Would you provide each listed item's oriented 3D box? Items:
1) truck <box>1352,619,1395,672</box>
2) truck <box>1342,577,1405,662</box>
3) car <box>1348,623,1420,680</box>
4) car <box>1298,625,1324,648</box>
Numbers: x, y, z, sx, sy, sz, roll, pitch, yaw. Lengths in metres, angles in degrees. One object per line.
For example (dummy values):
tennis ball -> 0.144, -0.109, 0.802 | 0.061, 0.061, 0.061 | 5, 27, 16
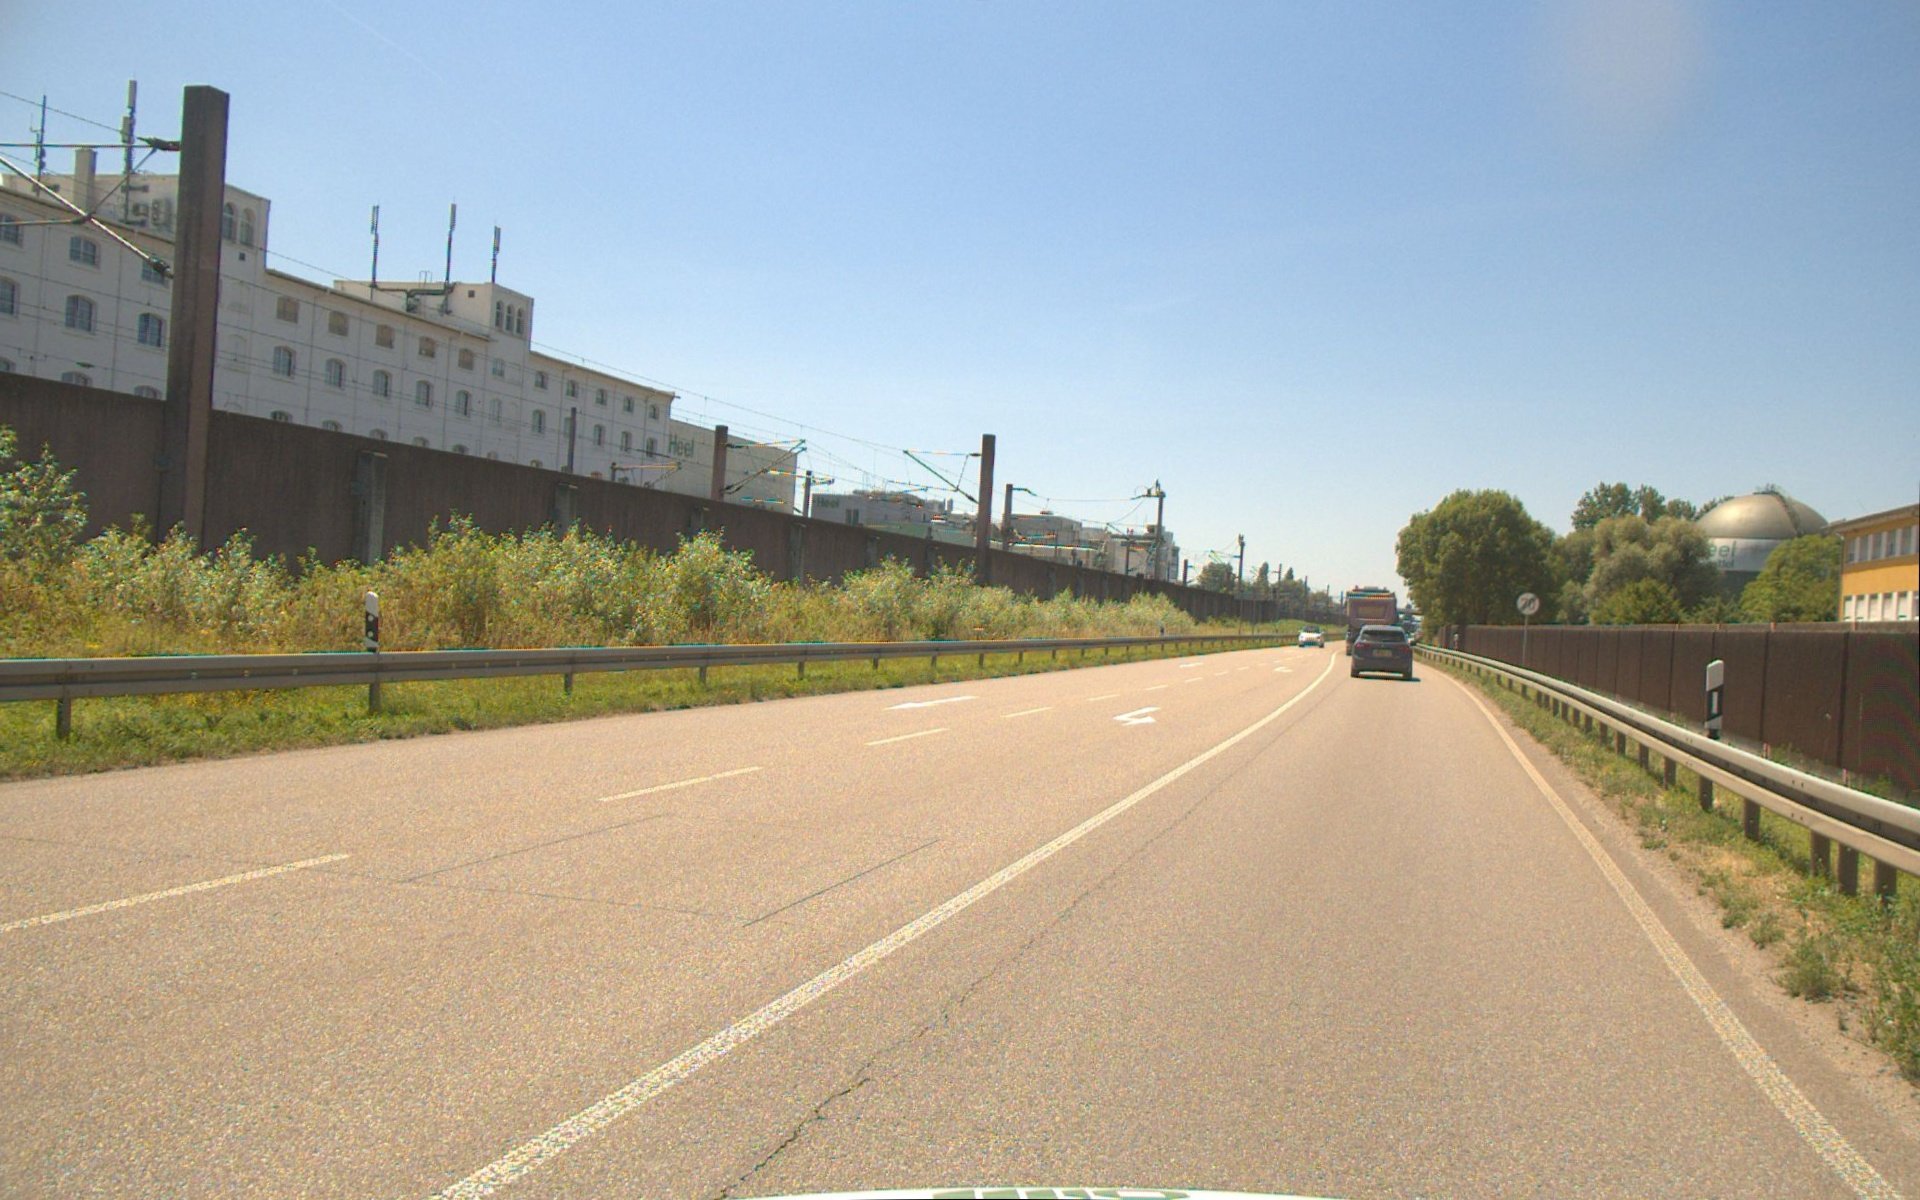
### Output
truck -> 31.679, 3.479, 127.067 | 2.932, 3.785, 10.566 | 2, -1, 13
truck -> 22.481, 1.157, 90.192 | 2.932, 4.253, 11.815 | 2, -1, 14
car -> 12.854, 1.589, 50.061 | 1.952, 1.529, 4.002 | 3, -2, 15
car -> 24.721, 2.570, 116.499 | 1.636, 1.528, 3.724 | 2, 0, 14
